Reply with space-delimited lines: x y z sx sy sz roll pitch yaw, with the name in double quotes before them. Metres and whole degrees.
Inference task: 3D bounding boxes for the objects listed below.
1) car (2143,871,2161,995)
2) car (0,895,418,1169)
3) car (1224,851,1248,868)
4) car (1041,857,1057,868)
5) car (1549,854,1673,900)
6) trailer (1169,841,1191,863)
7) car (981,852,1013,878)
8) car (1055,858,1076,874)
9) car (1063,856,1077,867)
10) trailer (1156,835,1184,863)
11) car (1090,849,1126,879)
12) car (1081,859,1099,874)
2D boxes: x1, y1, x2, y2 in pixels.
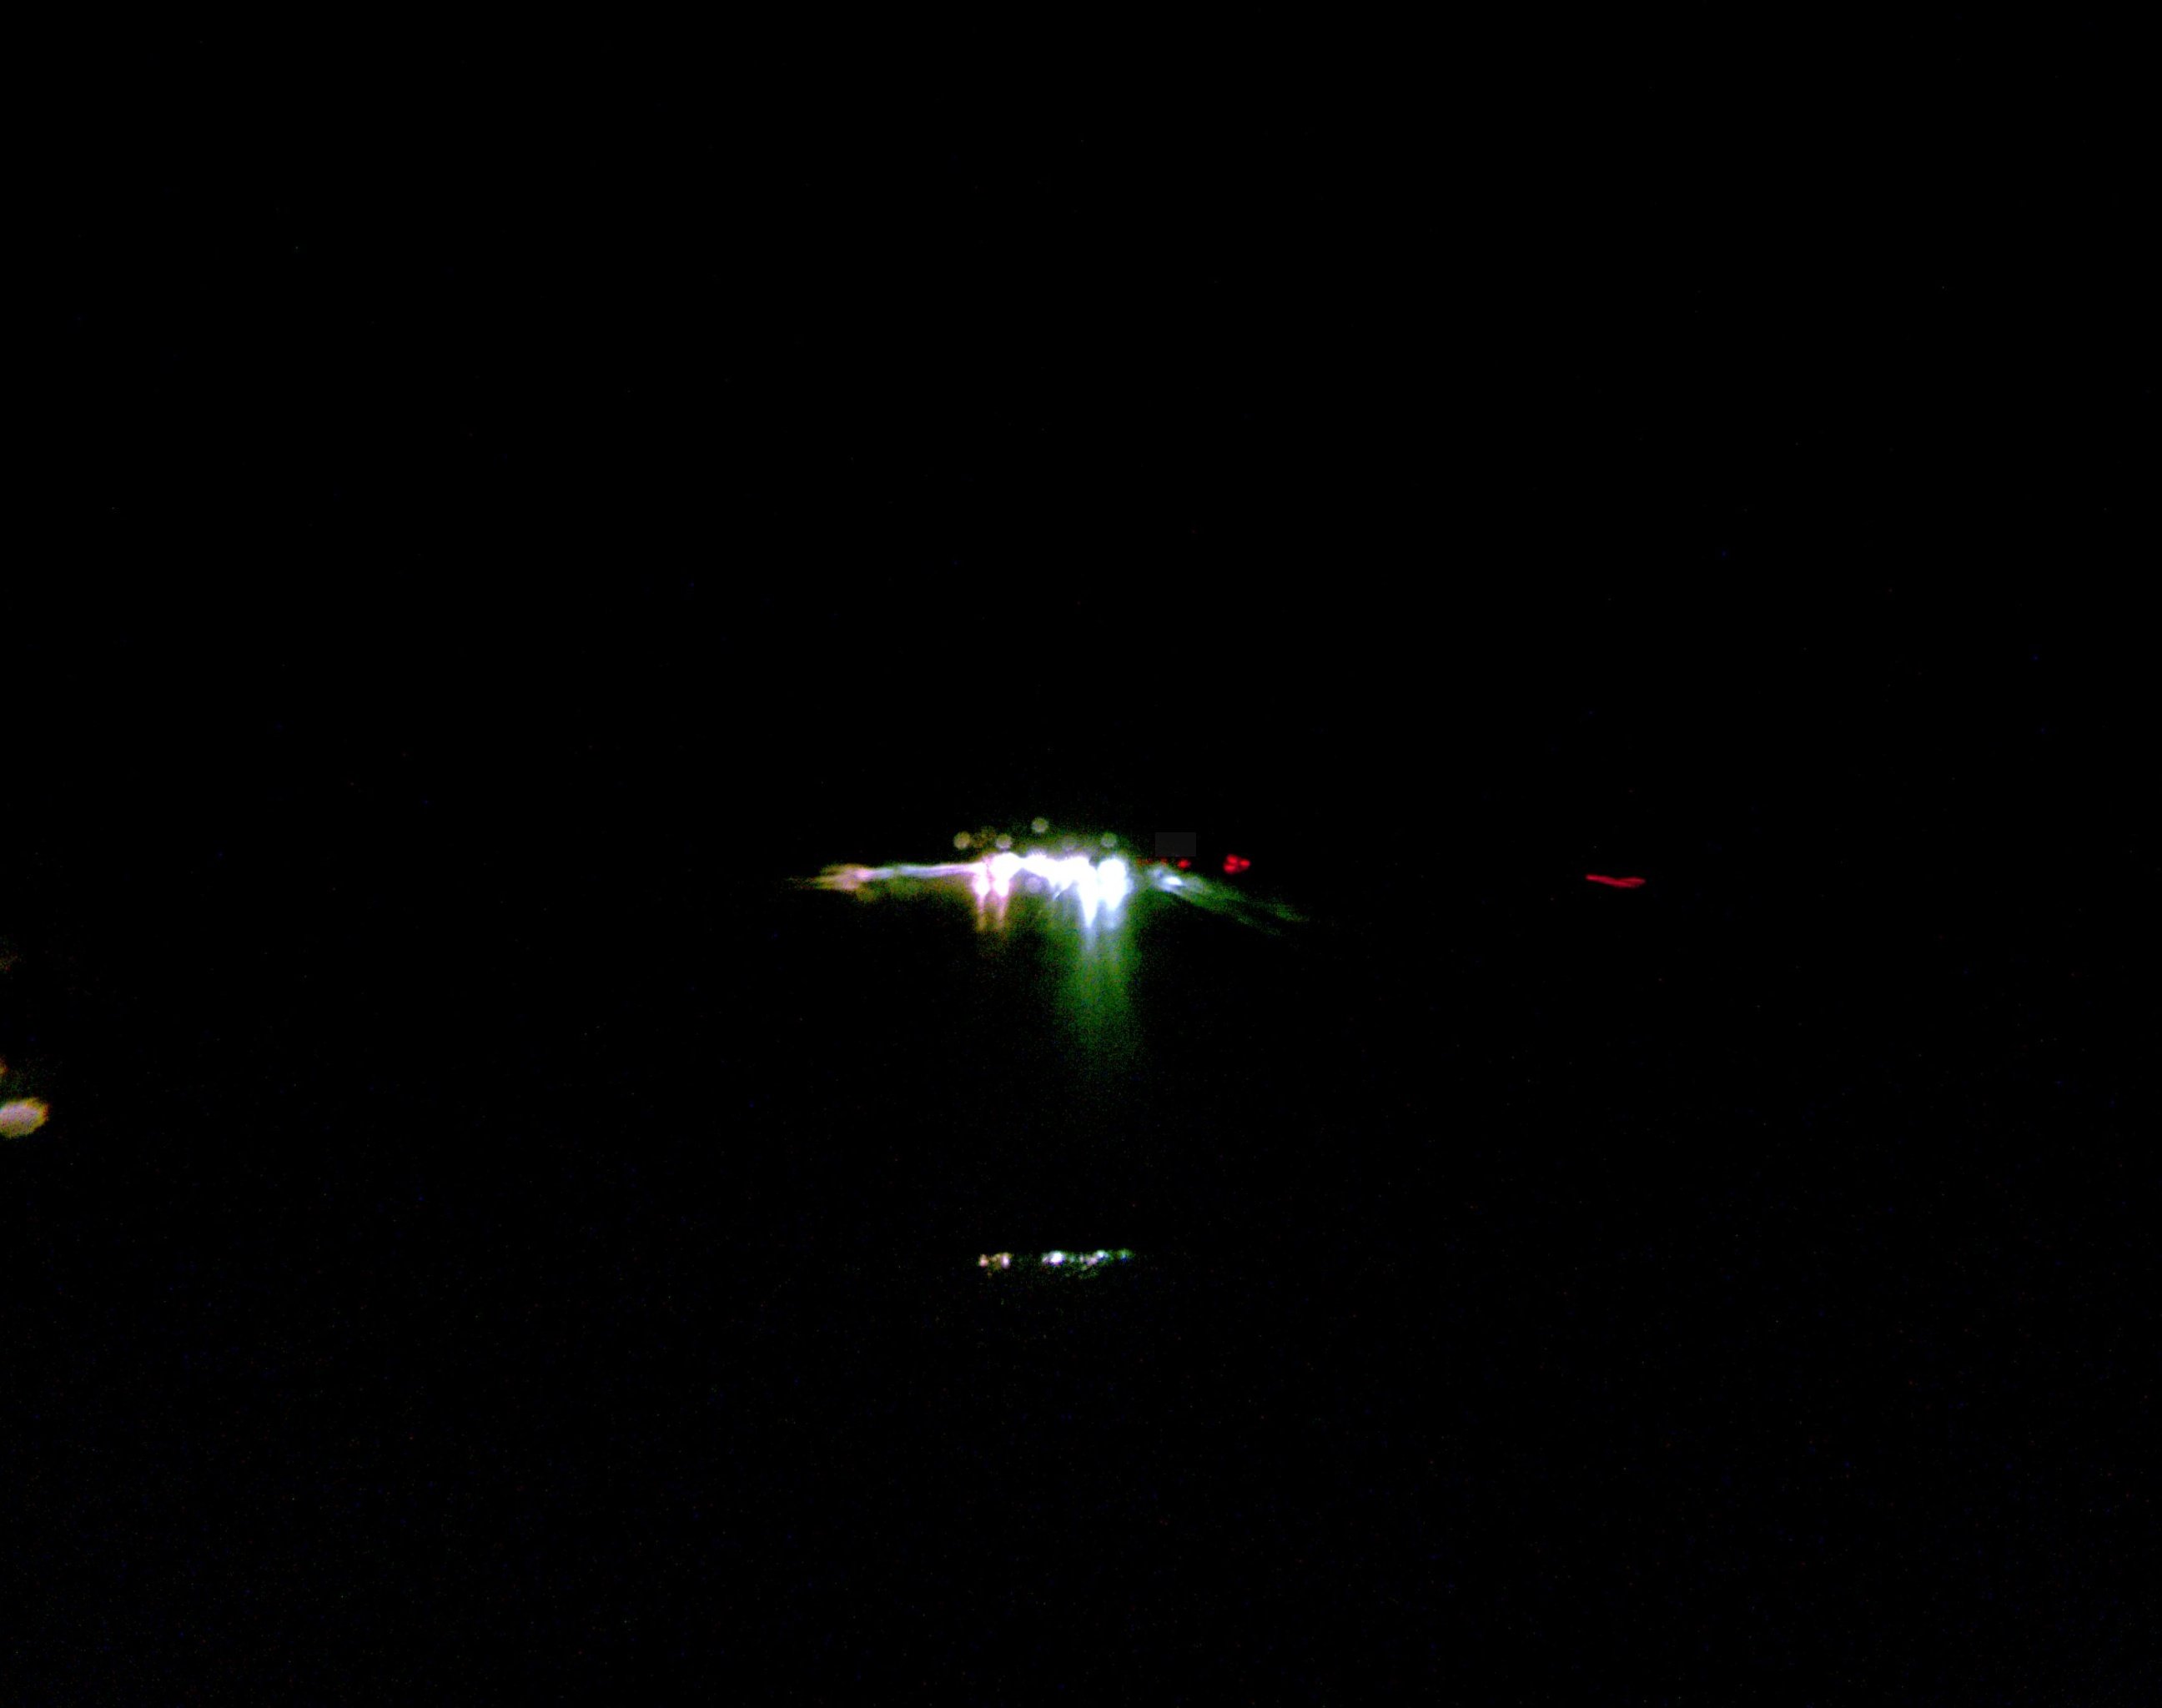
"car" 16.230 1.120 8.603 1.998 1.749 4.590 0 0 1
"car" -7.322 1.161 5.401 1.643 1.494 4.013 -1 0 1
"car" 18.573 0.671 91.055 1.998 2.002 4.391 0 1 1
"car" -5.032 1.391 120.141 1.882 1.654 4.002 -2 -1 4
"car" 20.828 0.848 30.136 1.998 1.704 4.246 0 0 1
"trailer" 20.139 -0.461 155.394 2.697 4.196 15.643 -2 0 1
"car" -6.366 0.817 58.101 1.832 1.835 4.699 -2 -1 1
"car" -1.747 1.344 84.538 1.882 1.654 4.002 -2 -1 4
"car" -1.715 1.158 118.143 1.883 1.654 4.001 -2 -1 3
"trailer" 14.908 -0.738 127.873 2.697 4.352 14.629 -2 0 -1
"car" 1.662 0.593 44.799 1.882 1.654 4.002 -2 -1 4
"car" 1.102 1.494 92.386 1.883 1.654 4.002 -2 -1 4
